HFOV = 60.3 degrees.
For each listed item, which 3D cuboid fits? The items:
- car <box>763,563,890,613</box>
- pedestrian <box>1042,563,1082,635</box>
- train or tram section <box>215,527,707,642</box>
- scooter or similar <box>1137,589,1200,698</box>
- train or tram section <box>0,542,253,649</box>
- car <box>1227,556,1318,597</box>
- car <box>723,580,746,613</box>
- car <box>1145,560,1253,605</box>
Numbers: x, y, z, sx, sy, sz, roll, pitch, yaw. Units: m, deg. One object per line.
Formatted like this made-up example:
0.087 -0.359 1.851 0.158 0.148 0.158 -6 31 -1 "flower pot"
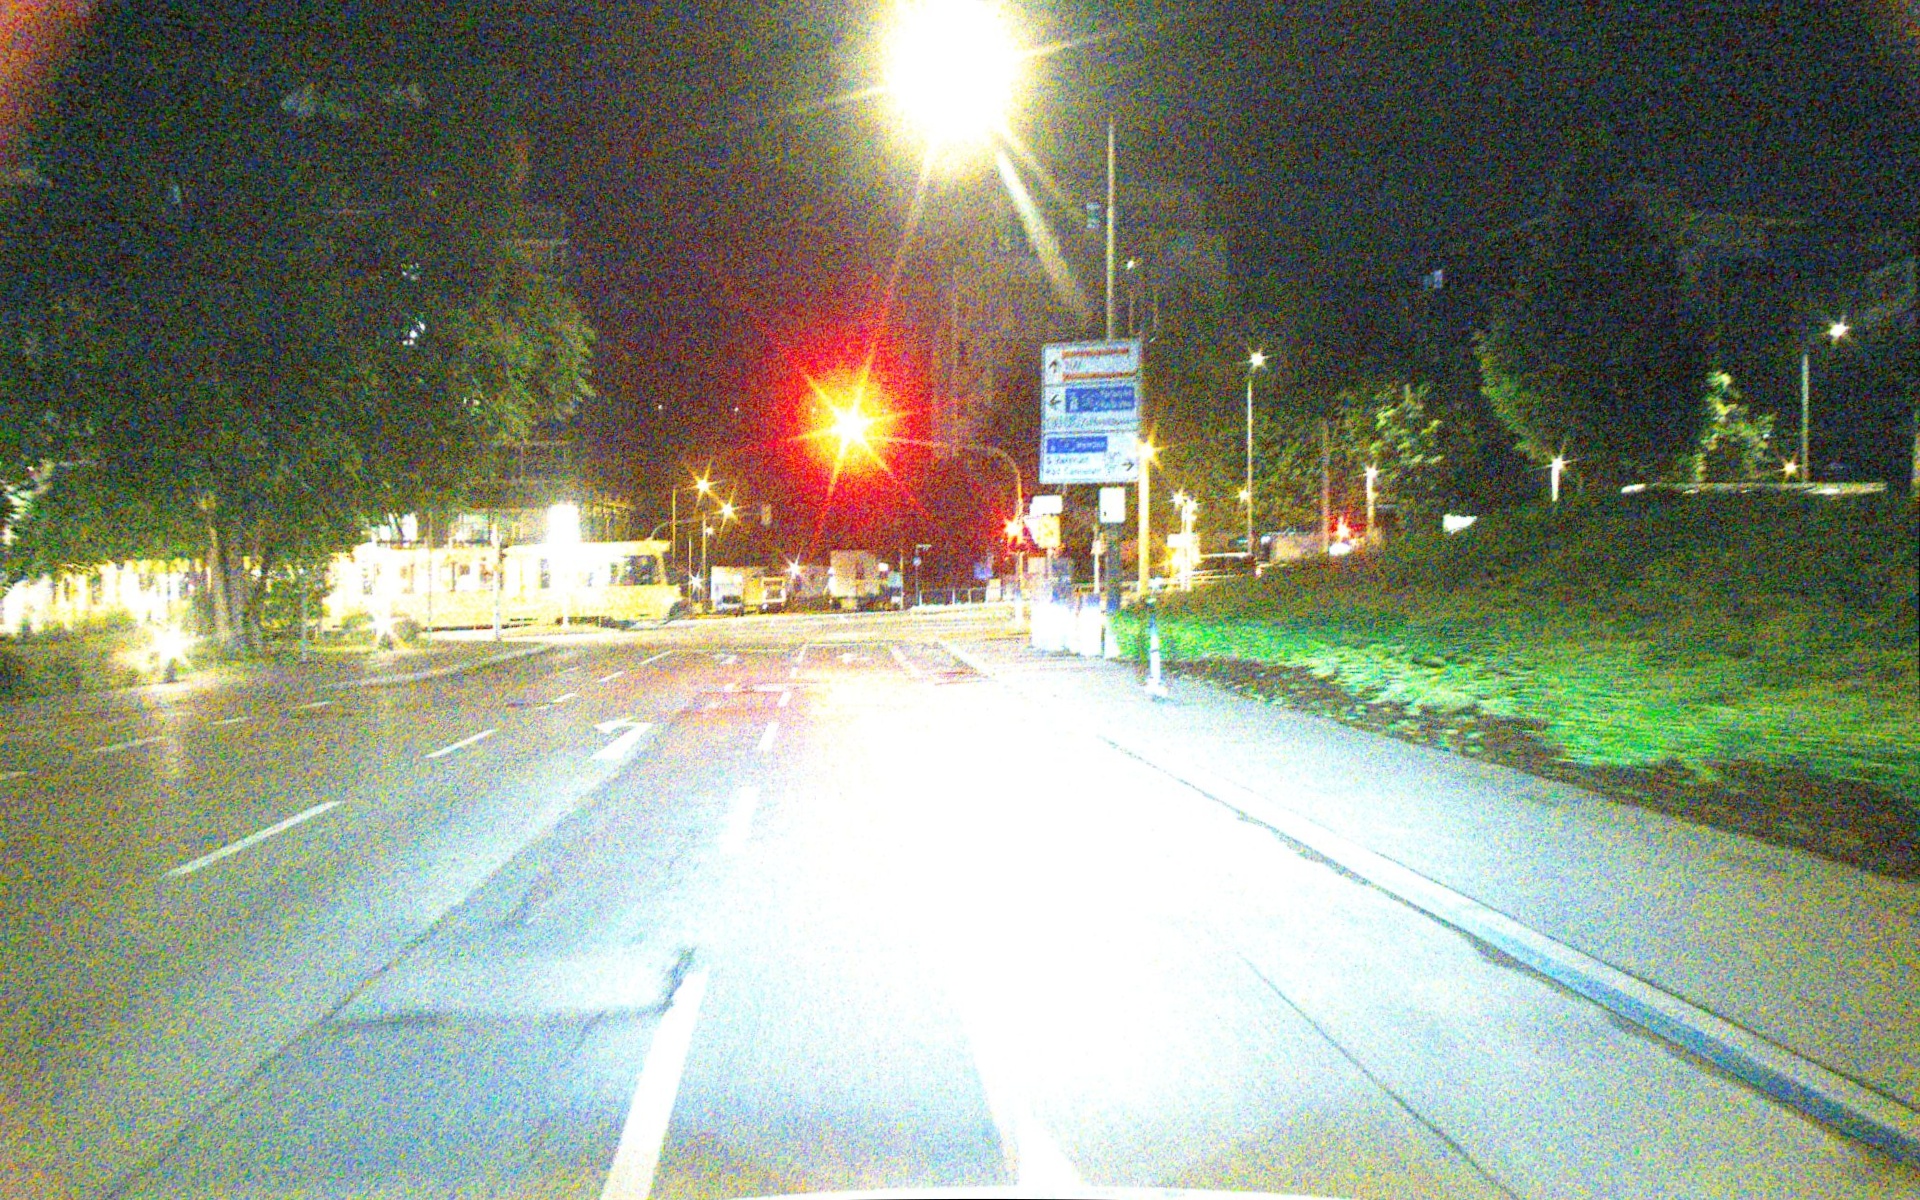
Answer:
-13.668 -1.266 169.501 12.196 4.792 4.784 -1 0 -19 "car"
2.586 -0.024 42.031 0.881 1.742 0.775 -3 0 1 "pedestrian"
-19.850 -0.611 66.424 18.778 3.890 2.924 -2 0 1 "train or tram section"
2.584 0.517 20.603 0.484 1.283 1.319 -3 1 -3 "scooter or similar"
-38.903 -0.009 66.779 19.384 3.929 2.941 -2 0 1 "train or tram section"
14.776 -1.128 78.324 3.973 1.643 1.870 -4 1 4 "car"
-21.304 -0.299 156.088 1.957 3.026 3.991 -1 0 -10 "car"
10.760 -0.787 74.573 4.518 1.668 2.000 -4 1 1 "car"
